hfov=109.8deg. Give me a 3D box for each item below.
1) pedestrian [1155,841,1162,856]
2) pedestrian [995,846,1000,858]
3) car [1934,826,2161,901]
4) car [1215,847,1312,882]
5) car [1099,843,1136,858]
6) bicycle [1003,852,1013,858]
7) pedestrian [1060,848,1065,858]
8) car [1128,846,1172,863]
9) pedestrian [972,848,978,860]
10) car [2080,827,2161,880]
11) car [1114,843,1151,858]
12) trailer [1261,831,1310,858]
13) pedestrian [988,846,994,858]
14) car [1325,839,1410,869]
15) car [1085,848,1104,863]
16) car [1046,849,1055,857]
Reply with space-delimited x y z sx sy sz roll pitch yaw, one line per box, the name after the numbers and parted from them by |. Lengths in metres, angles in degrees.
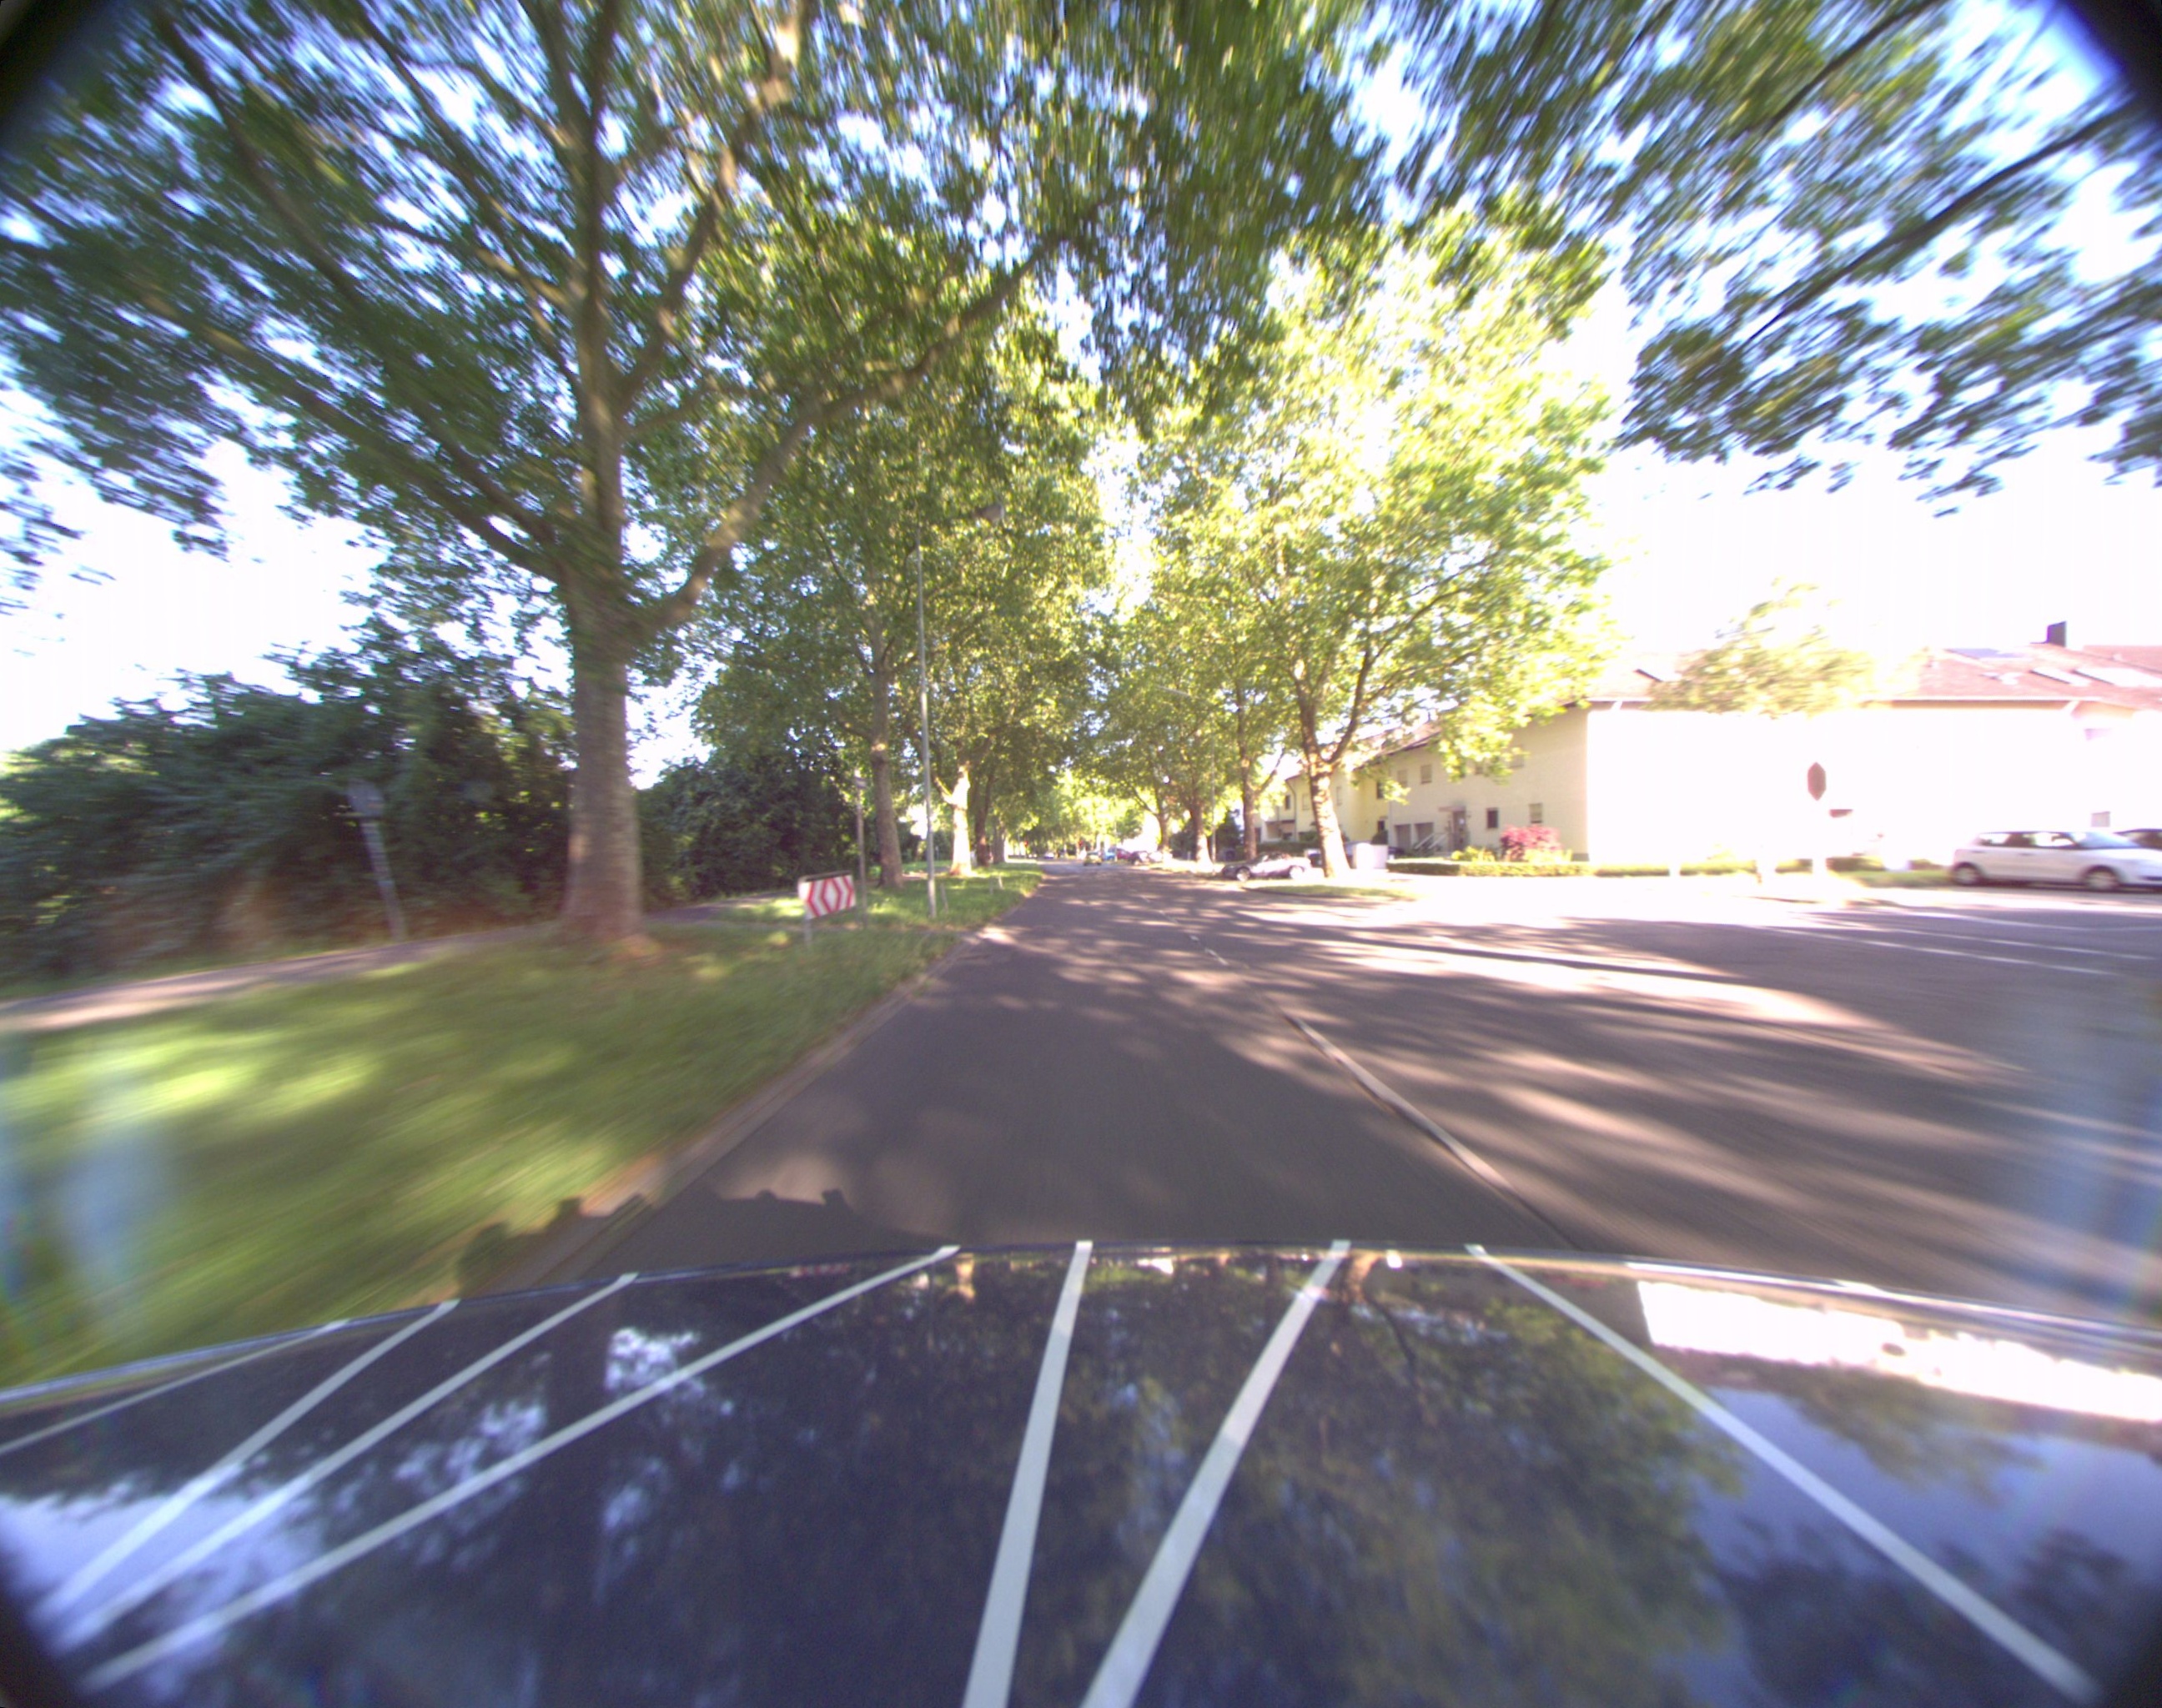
8.909 -0.659 87.409 0.618 1.706 1.065 -1 1 -2 | pedestrian
-13.131 -0.350 119.774 0.763 1.835 0.787 -1 1 -2 | pedestrian
23.724 0.172 18.212 1.999 1.566 3.998 -2 1 -4 | car
8.189 0.464 34.256 3.836 1.309 1.789 -3 1 -2 | car
4.663 -0.416 96.479 4.399 1.814 1.994 -1 1 -7 | car
-12.580 0.115 130.555 1.715 1.028 0.447 -1 -2 29 | bicycle
-3.180 -0.197 131.848 0.637 1.709 0.825 1 0 -14 | pedestrian
6.577 0.065 72.673 3.999 1.509 1.816 -2 1 -4 | car
-13.940 -0.032 100.194 0.782 1.640 0.938 0 1 -6 | pedestrian
33.337 -0.021 22.313 1.999 1.566 4.462 -2 1 -4 | car
5.860 -0.381 86.662 3.883 1.509 1.664 -2 1 -7 | car
16.892 -0.752 62.913 3.463 1.914 1.643 -5 0 -4 | trailer
-14.167 -0.272 119.788 0.756 1.837 0.802 -1 1 -2 | pedestrian
15.936 -0.006 42.372 3.997 1.456 1.900 -2 2 -1 | car
1.392 0.130 78.843 1.789 1.504 3.837 -1 1 -1 | car
-6.302 -0.198 158.562 1.721 1.492 4.093 -1 1 -1 | car
